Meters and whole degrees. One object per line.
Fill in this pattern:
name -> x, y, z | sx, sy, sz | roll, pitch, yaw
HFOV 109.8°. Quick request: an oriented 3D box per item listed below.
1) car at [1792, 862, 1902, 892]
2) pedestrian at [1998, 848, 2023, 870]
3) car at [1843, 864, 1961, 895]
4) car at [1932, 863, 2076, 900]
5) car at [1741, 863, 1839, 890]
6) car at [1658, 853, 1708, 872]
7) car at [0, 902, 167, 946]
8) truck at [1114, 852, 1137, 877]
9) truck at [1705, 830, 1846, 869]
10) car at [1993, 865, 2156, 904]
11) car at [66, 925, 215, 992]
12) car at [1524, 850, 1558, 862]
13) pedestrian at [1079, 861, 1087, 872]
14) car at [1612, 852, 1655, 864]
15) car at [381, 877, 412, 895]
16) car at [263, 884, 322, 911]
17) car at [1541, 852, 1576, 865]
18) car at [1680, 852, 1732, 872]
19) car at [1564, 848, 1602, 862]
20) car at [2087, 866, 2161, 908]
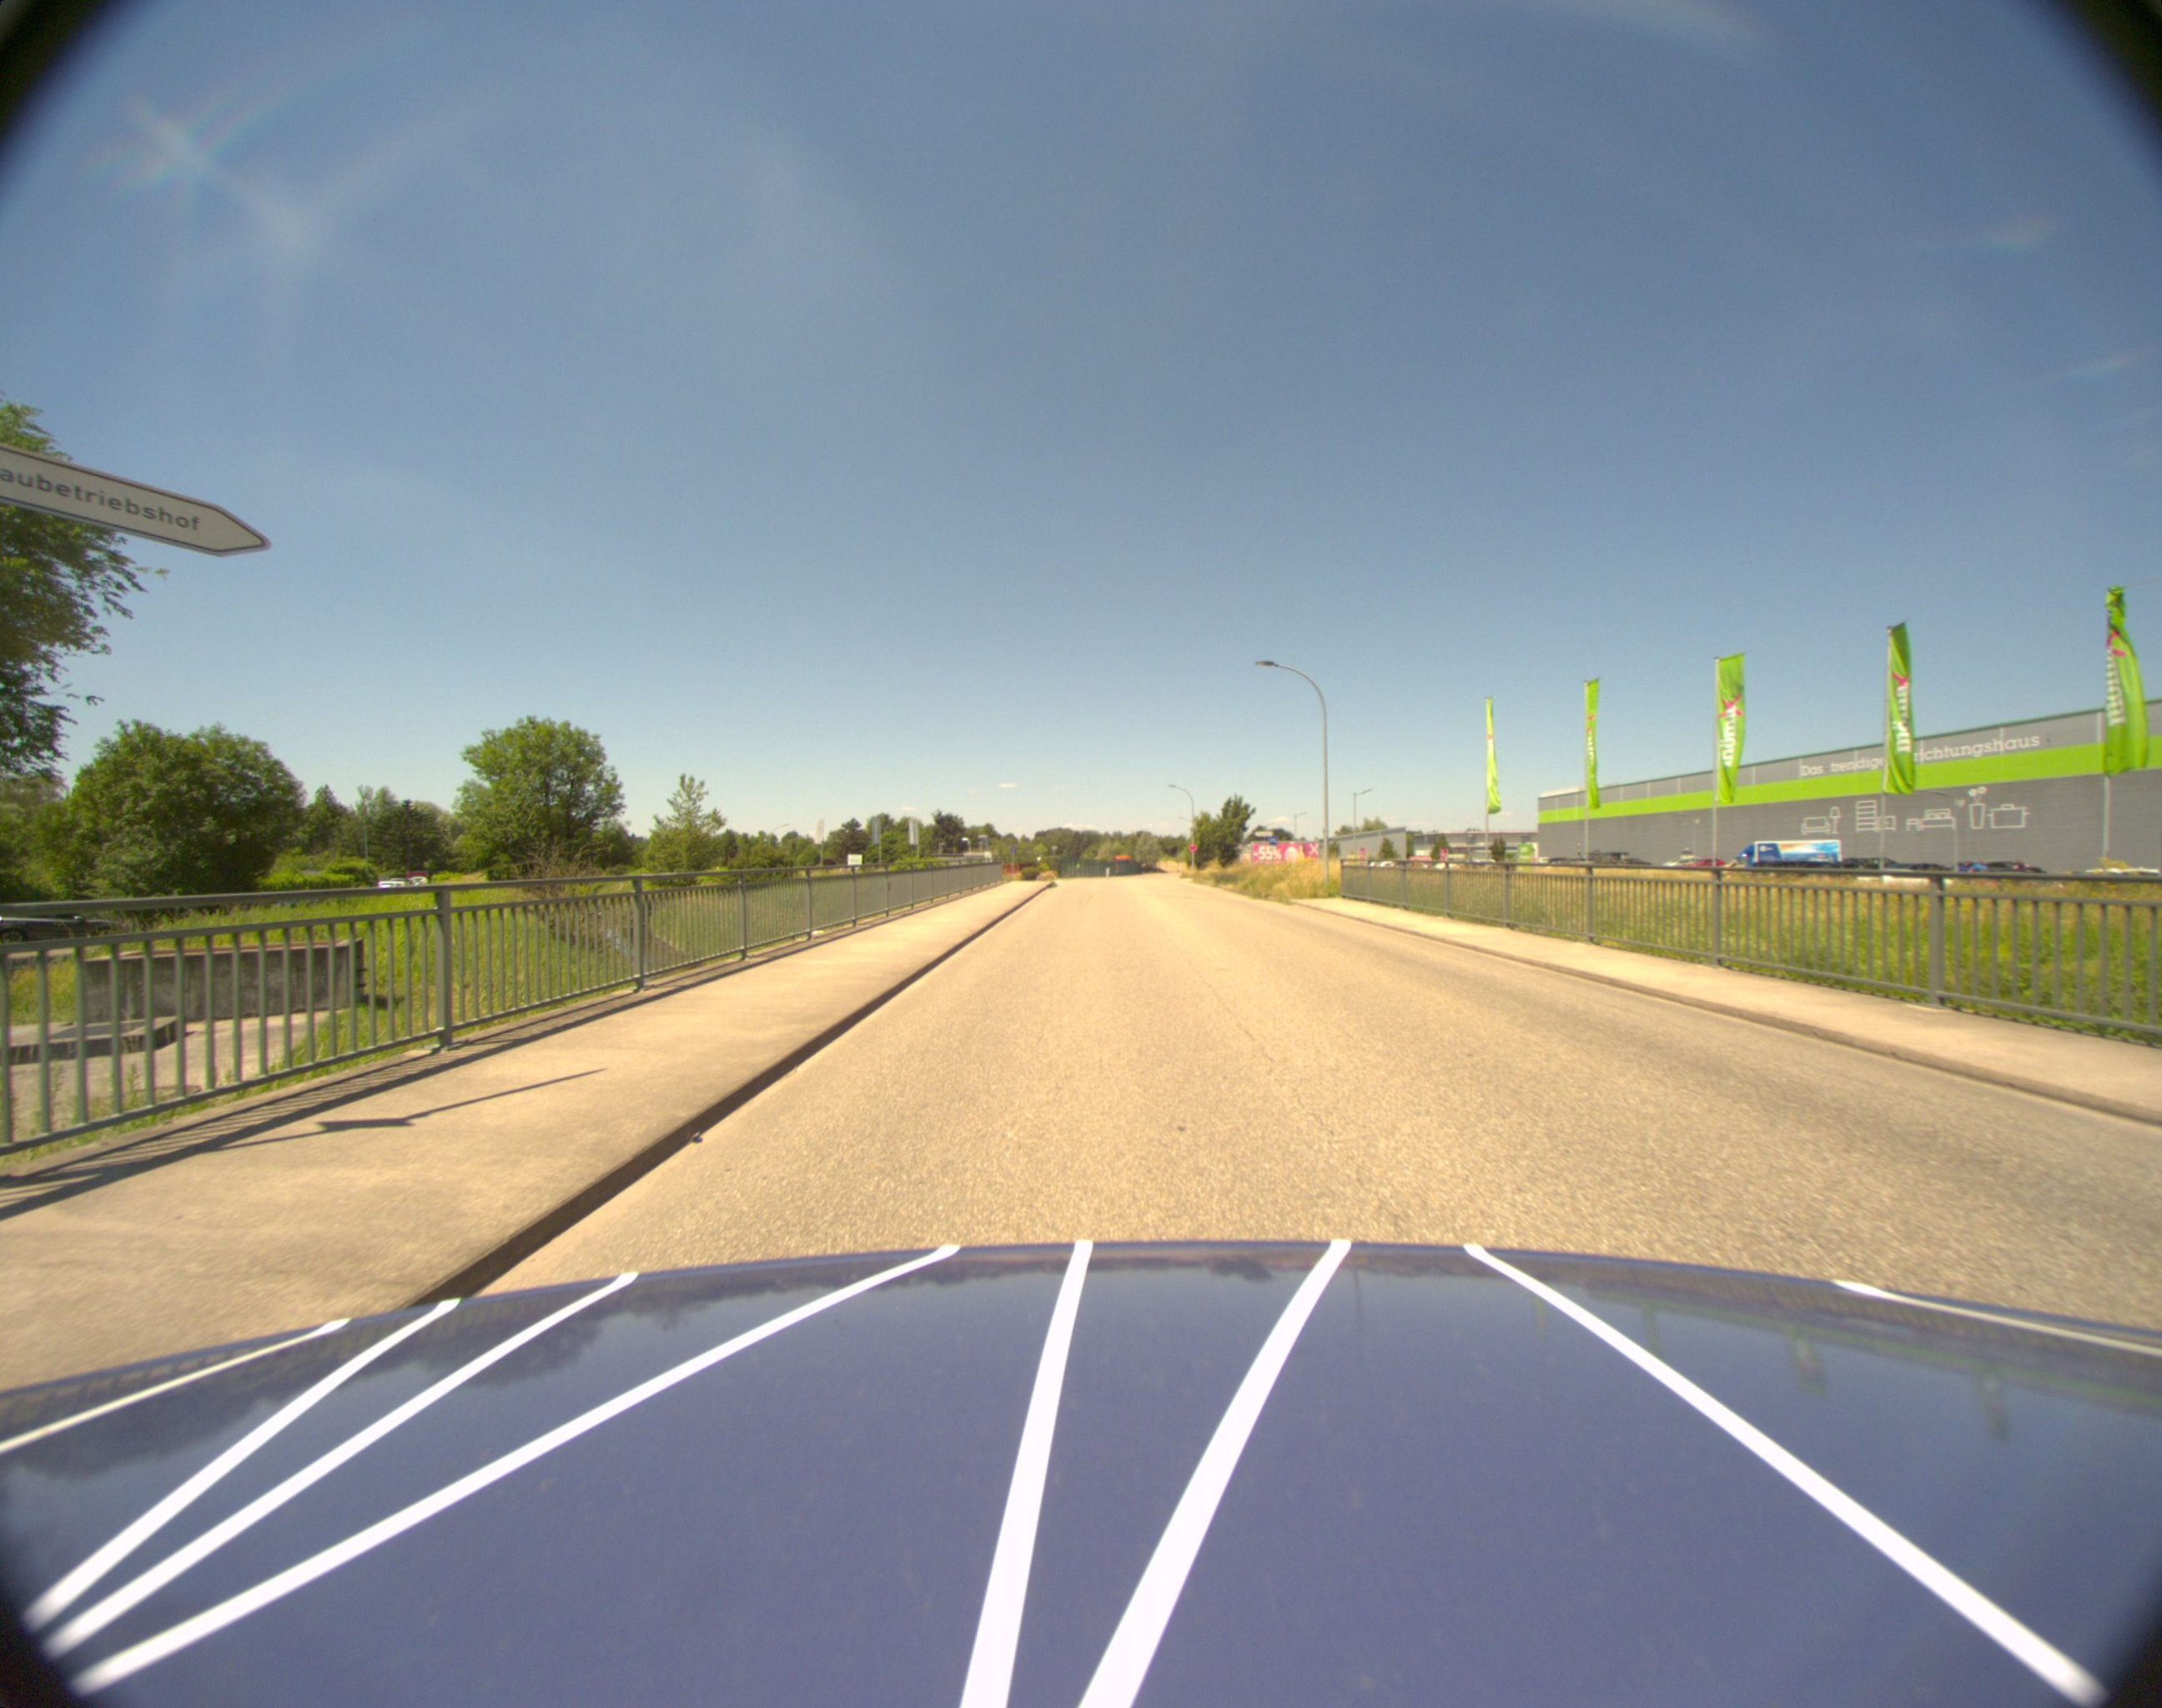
car -> 43.150, 1.303, 42.884 | 3.996, 1.504, 2.001 | -2, 0, 4
pedestrian -> 62.473, 0.333, 51.065 | 0.639, 1.443, 0.766 | -2, 0, 2
car -> 43.299, 1.317, 40.149 | 3.996, 1.429, 1.847 | -2, 0, 4
car -> 42.525, 1.244, 35.093 | 3.996, 1.504, 2.001 | -2, 0, 4
car -> 43.325, 1.371, 46.519 | 3.996, 1.458, 2.001 | -2, 0, 4
car -> 68.739, 0.932, 86.870 | 3.993, 2.002, 1.913 | -2, 0, 11
car -> -45.449, 3.131, 34.604 | 4.521, 1.614, 1.995 | 0, 0, -37
truck -> 8.052, 1.897, 135.871 | 2.844, 4.171, 8.141 | -2, -1, 11
truck -> 53.006, -0.286, 58.360 | 7.756, 2.667, 2.968 | -2, -1, 39
car -> 41.734, 1.271, 32.022 | 3.996, 1.422, 2.001 | -2, 0, 4
car -> -30.844, 3.341, 25.115 | 2.004, 1.614, 4.501 | -1, 0, -36
car -> 70.964, 0.278, 117.164 | 3.995, 1.729, 2.001 | -2, 1, 6
pedestrian -> 0.430, 2.326, 141.990 | 1.304, 2.001, 1.217 | -2, -1, 10
car -> 70.583, 0.550, 97.158 | 3.995, 1.513, 2.001 | -1, -1, 7
car -> -81.235, 3.767, 90.228 | 2.285, 2.021, 4.780 | -1, 0, -36
car -> -52.531, 2.861, 50.690 | 2.004, 1.614, 4.501 | -1, 0, -36
car -> 70.941, 0.717, 112.942 | 3.995, 1.729, 2.001 | -2, 1, 6
car -> 68.848, 0.913, 83.700 | 3.995, 2.002, 1.912 | -2, 0, 6
car -> 70.424, 0.163, 106.660 | 3.995, 1.729, 2.001 | -2, 1, 6
car -> 41.932, 1.226, 29.068 | 3.996, 1.435, 2.001 | -2, 0, 4
